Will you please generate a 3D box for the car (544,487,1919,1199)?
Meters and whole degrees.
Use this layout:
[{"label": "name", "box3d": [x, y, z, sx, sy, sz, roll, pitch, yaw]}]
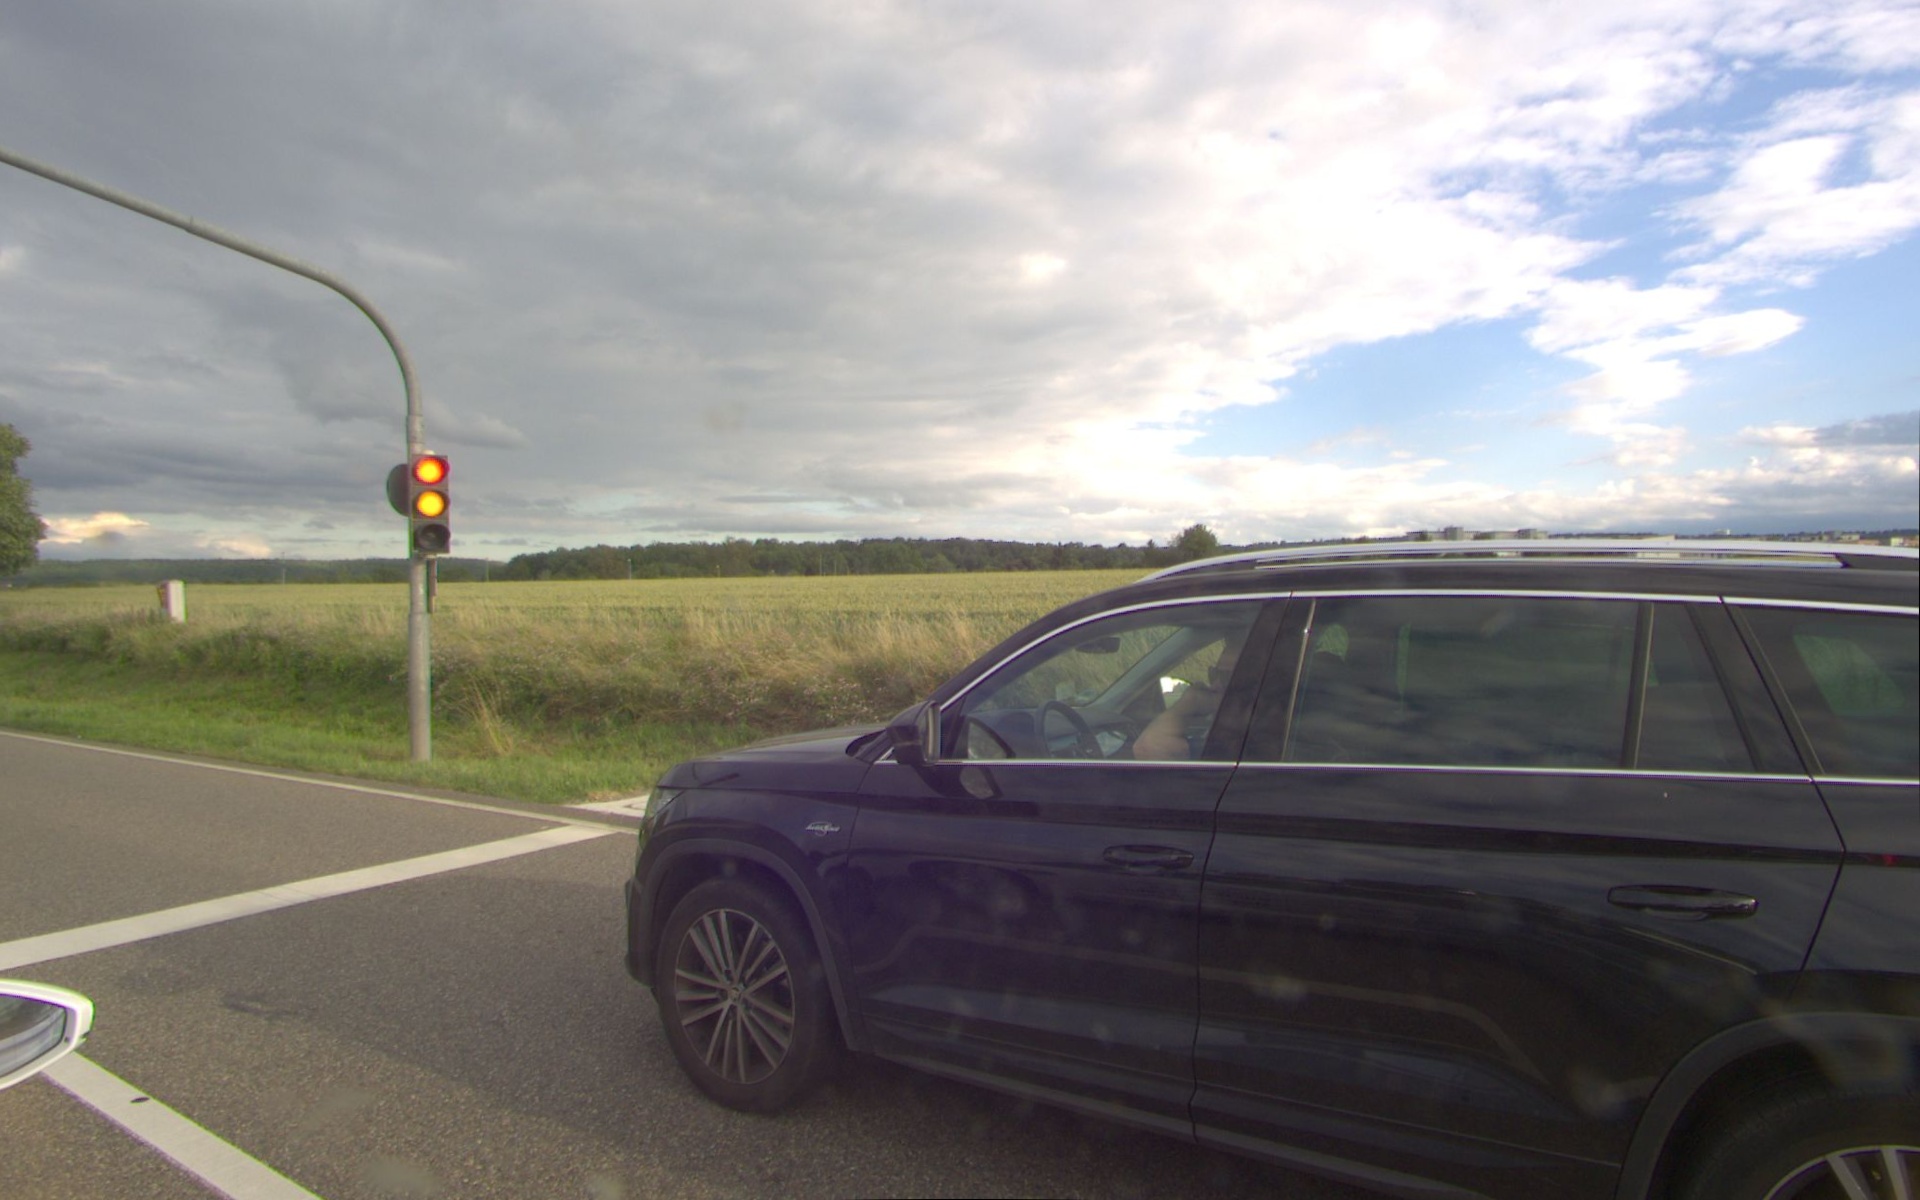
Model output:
[{"label": "car", "box3d": [0.873, 0.698, 3.009, 4.355, 1.689, 1.716, 0, -1, 32]}]
